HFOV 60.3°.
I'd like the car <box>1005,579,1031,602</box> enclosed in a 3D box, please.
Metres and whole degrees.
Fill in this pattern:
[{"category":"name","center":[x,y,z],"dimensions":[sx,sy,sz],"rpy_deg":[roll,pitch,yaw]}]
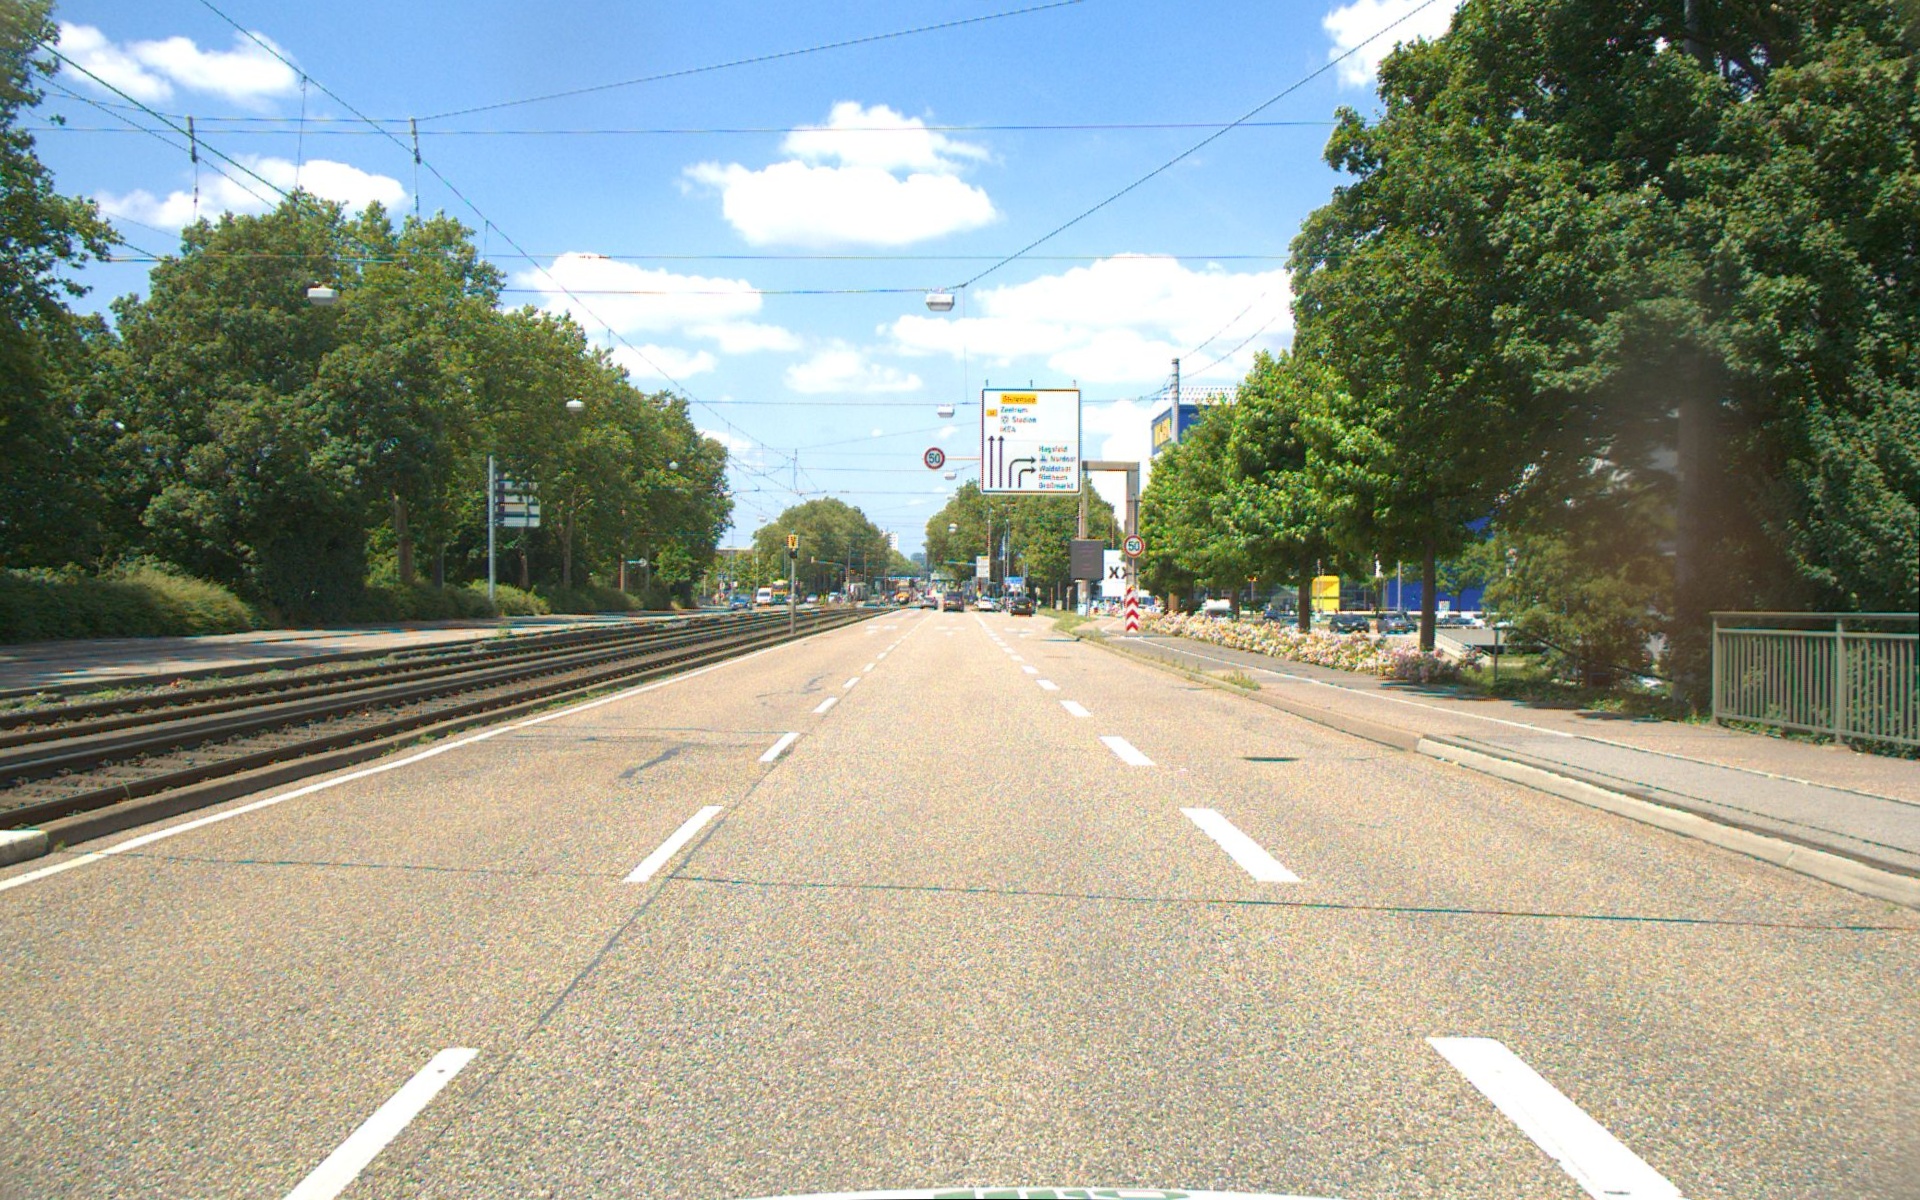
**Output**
[{"category":"car","center":[4.810,-0.790,137.473],"dimensions":[1.861,1.837,3.976],"rpy_deg":[2,0,-1]}]

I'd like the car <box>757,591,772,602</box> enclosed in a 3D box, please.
[{"category":"car","center":[-27.656,-0.515,233.952],"dimensions":[1.590,1.577,3.703],"rpy_deg":[2,0,-1]}]

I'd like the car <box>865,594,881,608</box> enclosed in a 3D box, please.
[{"category":"car","center":[-10.671,0.136,203.755],"dimensions":[1.805,1.577,3.775],"rpy_deg":[2,0,-2]}]

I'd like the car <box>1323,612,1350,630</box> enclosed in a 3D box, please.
[{"category":"car","center":[34.983,1.959,153.718],"dimensions":[1.539,1.508,3.887],"rpy_deg":[2,0,-2]}]

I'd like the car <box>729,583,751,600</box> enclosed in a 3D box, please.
[{"category":"car","center":[-20.698,-0.782,155.816],"dimensions":[1.611,1.577,4.214],"rpy_deg":[2,0,-2]}]

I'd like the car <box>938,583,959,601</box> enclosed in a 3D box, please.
[{"category":"car","center":[-1.097,-0.754,153.578],"dimensions":[1.838,1.566,3.776],"rpy_deg":[2,0,-1]}]

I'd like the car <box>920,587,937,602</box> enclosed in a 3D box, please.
[{"category":"car","center":[-3.532,-0.647,186.601],"dimensions":[1.805,1.577,3.775],"rpy_deg":[2,0,-2]}]

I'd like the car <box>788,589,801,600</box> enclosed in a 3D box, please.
[{"category":"car","center":[-24.436,-0.813,243.949],"dimensions":[1.590,1.577,3.703],"rpy_deg":[2,0,-1]}]

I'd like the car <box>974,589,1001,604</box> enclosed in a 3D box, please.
[{"category":"car","center":[3.097,-0.388,185.042],"dimensions":[1.651,1.577,3.983],"rpy_deg":[2,0,22]}]

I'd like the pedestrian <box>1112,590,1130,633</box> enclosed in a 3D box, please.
[{"category":"pedestrian","center":[6.983,0.496,71.592],"dimensions":[0.655,1.823,0.925],"rpy_deg":[2,0,2]}]
